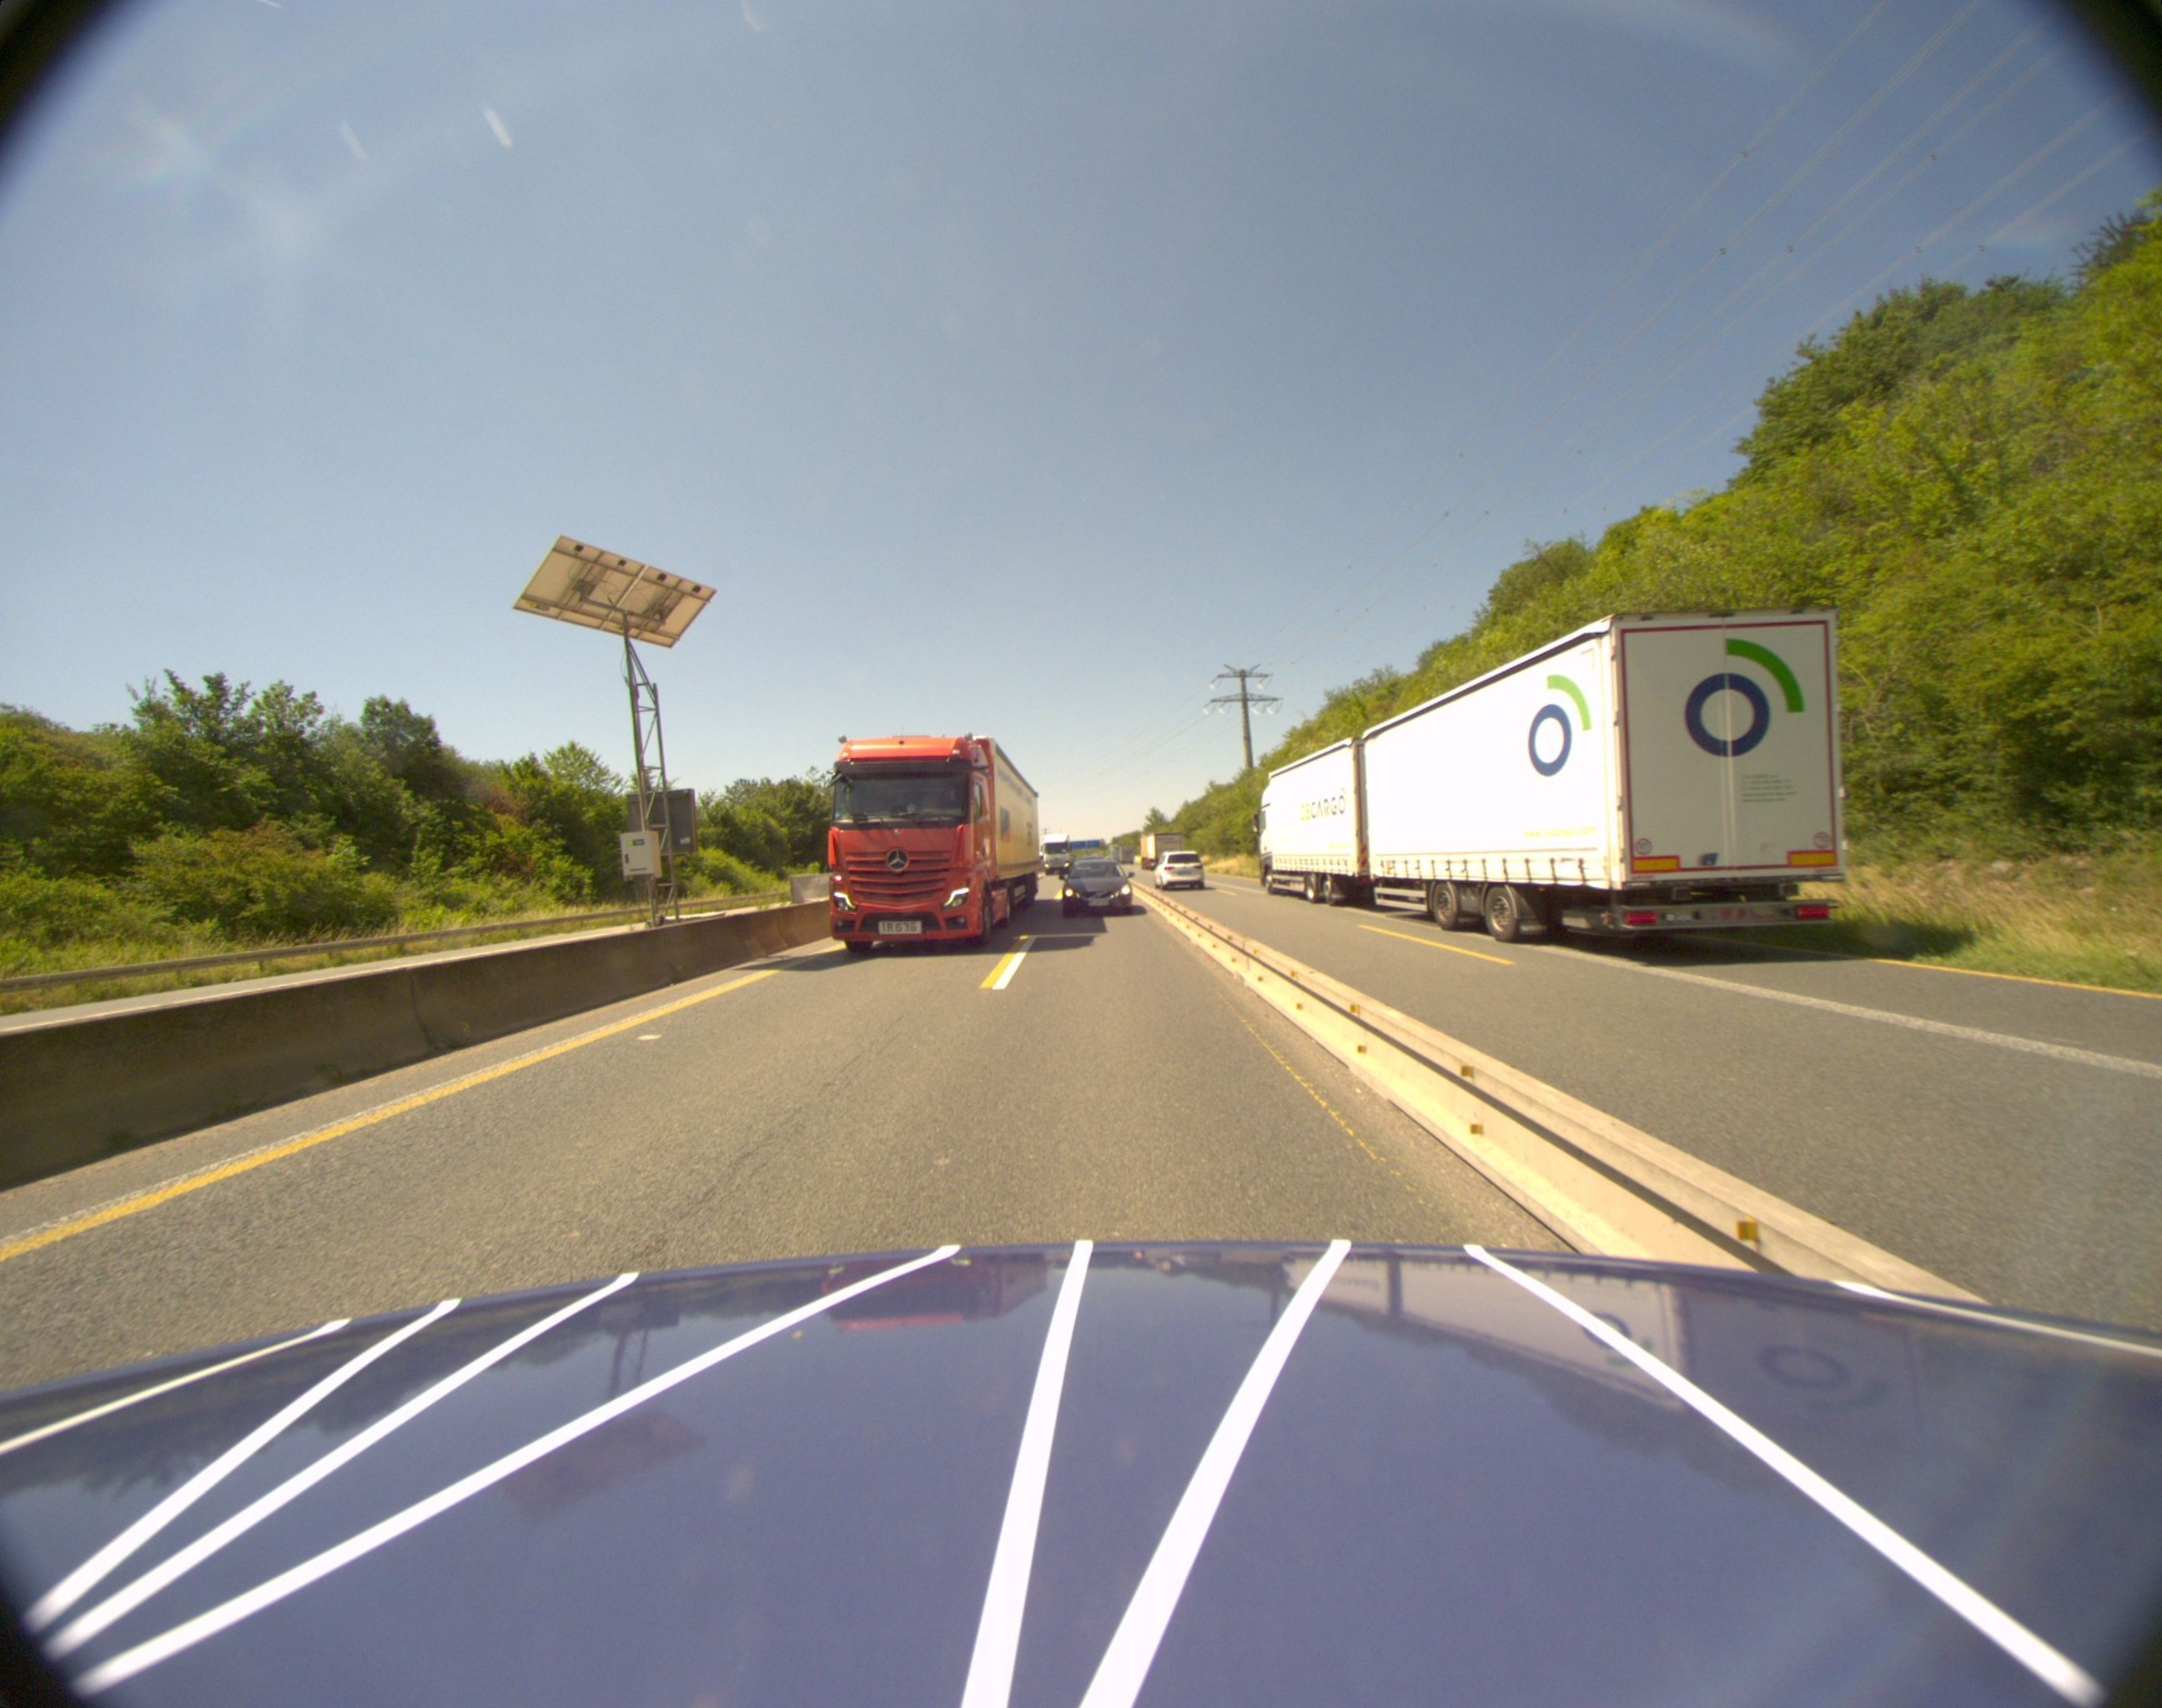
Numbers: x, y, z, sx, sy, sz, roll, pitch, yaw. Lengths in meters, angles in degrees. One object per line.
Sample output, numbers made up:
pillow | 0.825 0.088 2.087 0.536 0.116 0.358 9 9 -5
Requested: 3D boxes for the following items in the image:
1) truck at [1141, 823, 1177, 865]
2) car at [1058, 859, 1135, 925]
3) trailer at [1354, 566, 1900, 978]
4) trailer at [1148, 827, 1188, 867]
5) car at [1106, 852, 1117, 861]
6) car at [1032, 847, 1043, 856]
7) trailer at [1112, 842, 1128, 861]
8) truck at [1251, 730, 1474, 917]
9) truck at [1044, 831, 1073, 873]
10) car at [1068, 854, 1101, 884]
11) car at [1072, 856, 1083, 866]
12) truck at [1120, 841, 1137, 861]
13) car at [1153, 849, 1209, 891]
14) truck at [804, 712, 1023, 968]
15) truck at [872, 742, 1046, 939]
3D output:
truck | 8.137 -0.972 80.237 2.656 3.969 9.650 -4 0 1
car | 0.408 0.918 20.430 1.767 1.411 4.699 -3 1 1
trailer | 7.409 -0.879 12.401 2.644 4.287 8.447 -3 0 0
trailer | 7.979 -0.612 70.952 2.657 3.317 8.919 -4 0 1
car | 5.664 0.419 141.706 1.846 1.481 4.510 -1 1 0
car | -7.695 -0.468 135.028 1.767 1.523 4.698 -3 1 -2
trailer | 8.617 -0.543 169.510 2.899 4.101 13.243 -3 0 0
truck | 7.353 -0.676 21.897 2.416 3.969 10.351 -3 0 0
truck | -2.252 -0.199 79.958 2.481 4.030 13.109 -3 0 0
car | 0.240 0.800 43.873 1.767 1.523 4.699 -3 1 1
car | -0.555 1.206 131.988 1.767 1.523 4.698 -3 1 -1
truck | 8.472 -0.539 134.949 2.412 3.311 7.497 -3 1 0
car | 4.269 0.648 32.969 1.829 1.621 4.150 -3 1 0
truck | -2.939 -0.248 15.547 2.689 3.987 6.725 -3 1 1
truck | -2.850 -0.334 22.494 2.689 3.987 13.217 -3 1 1
